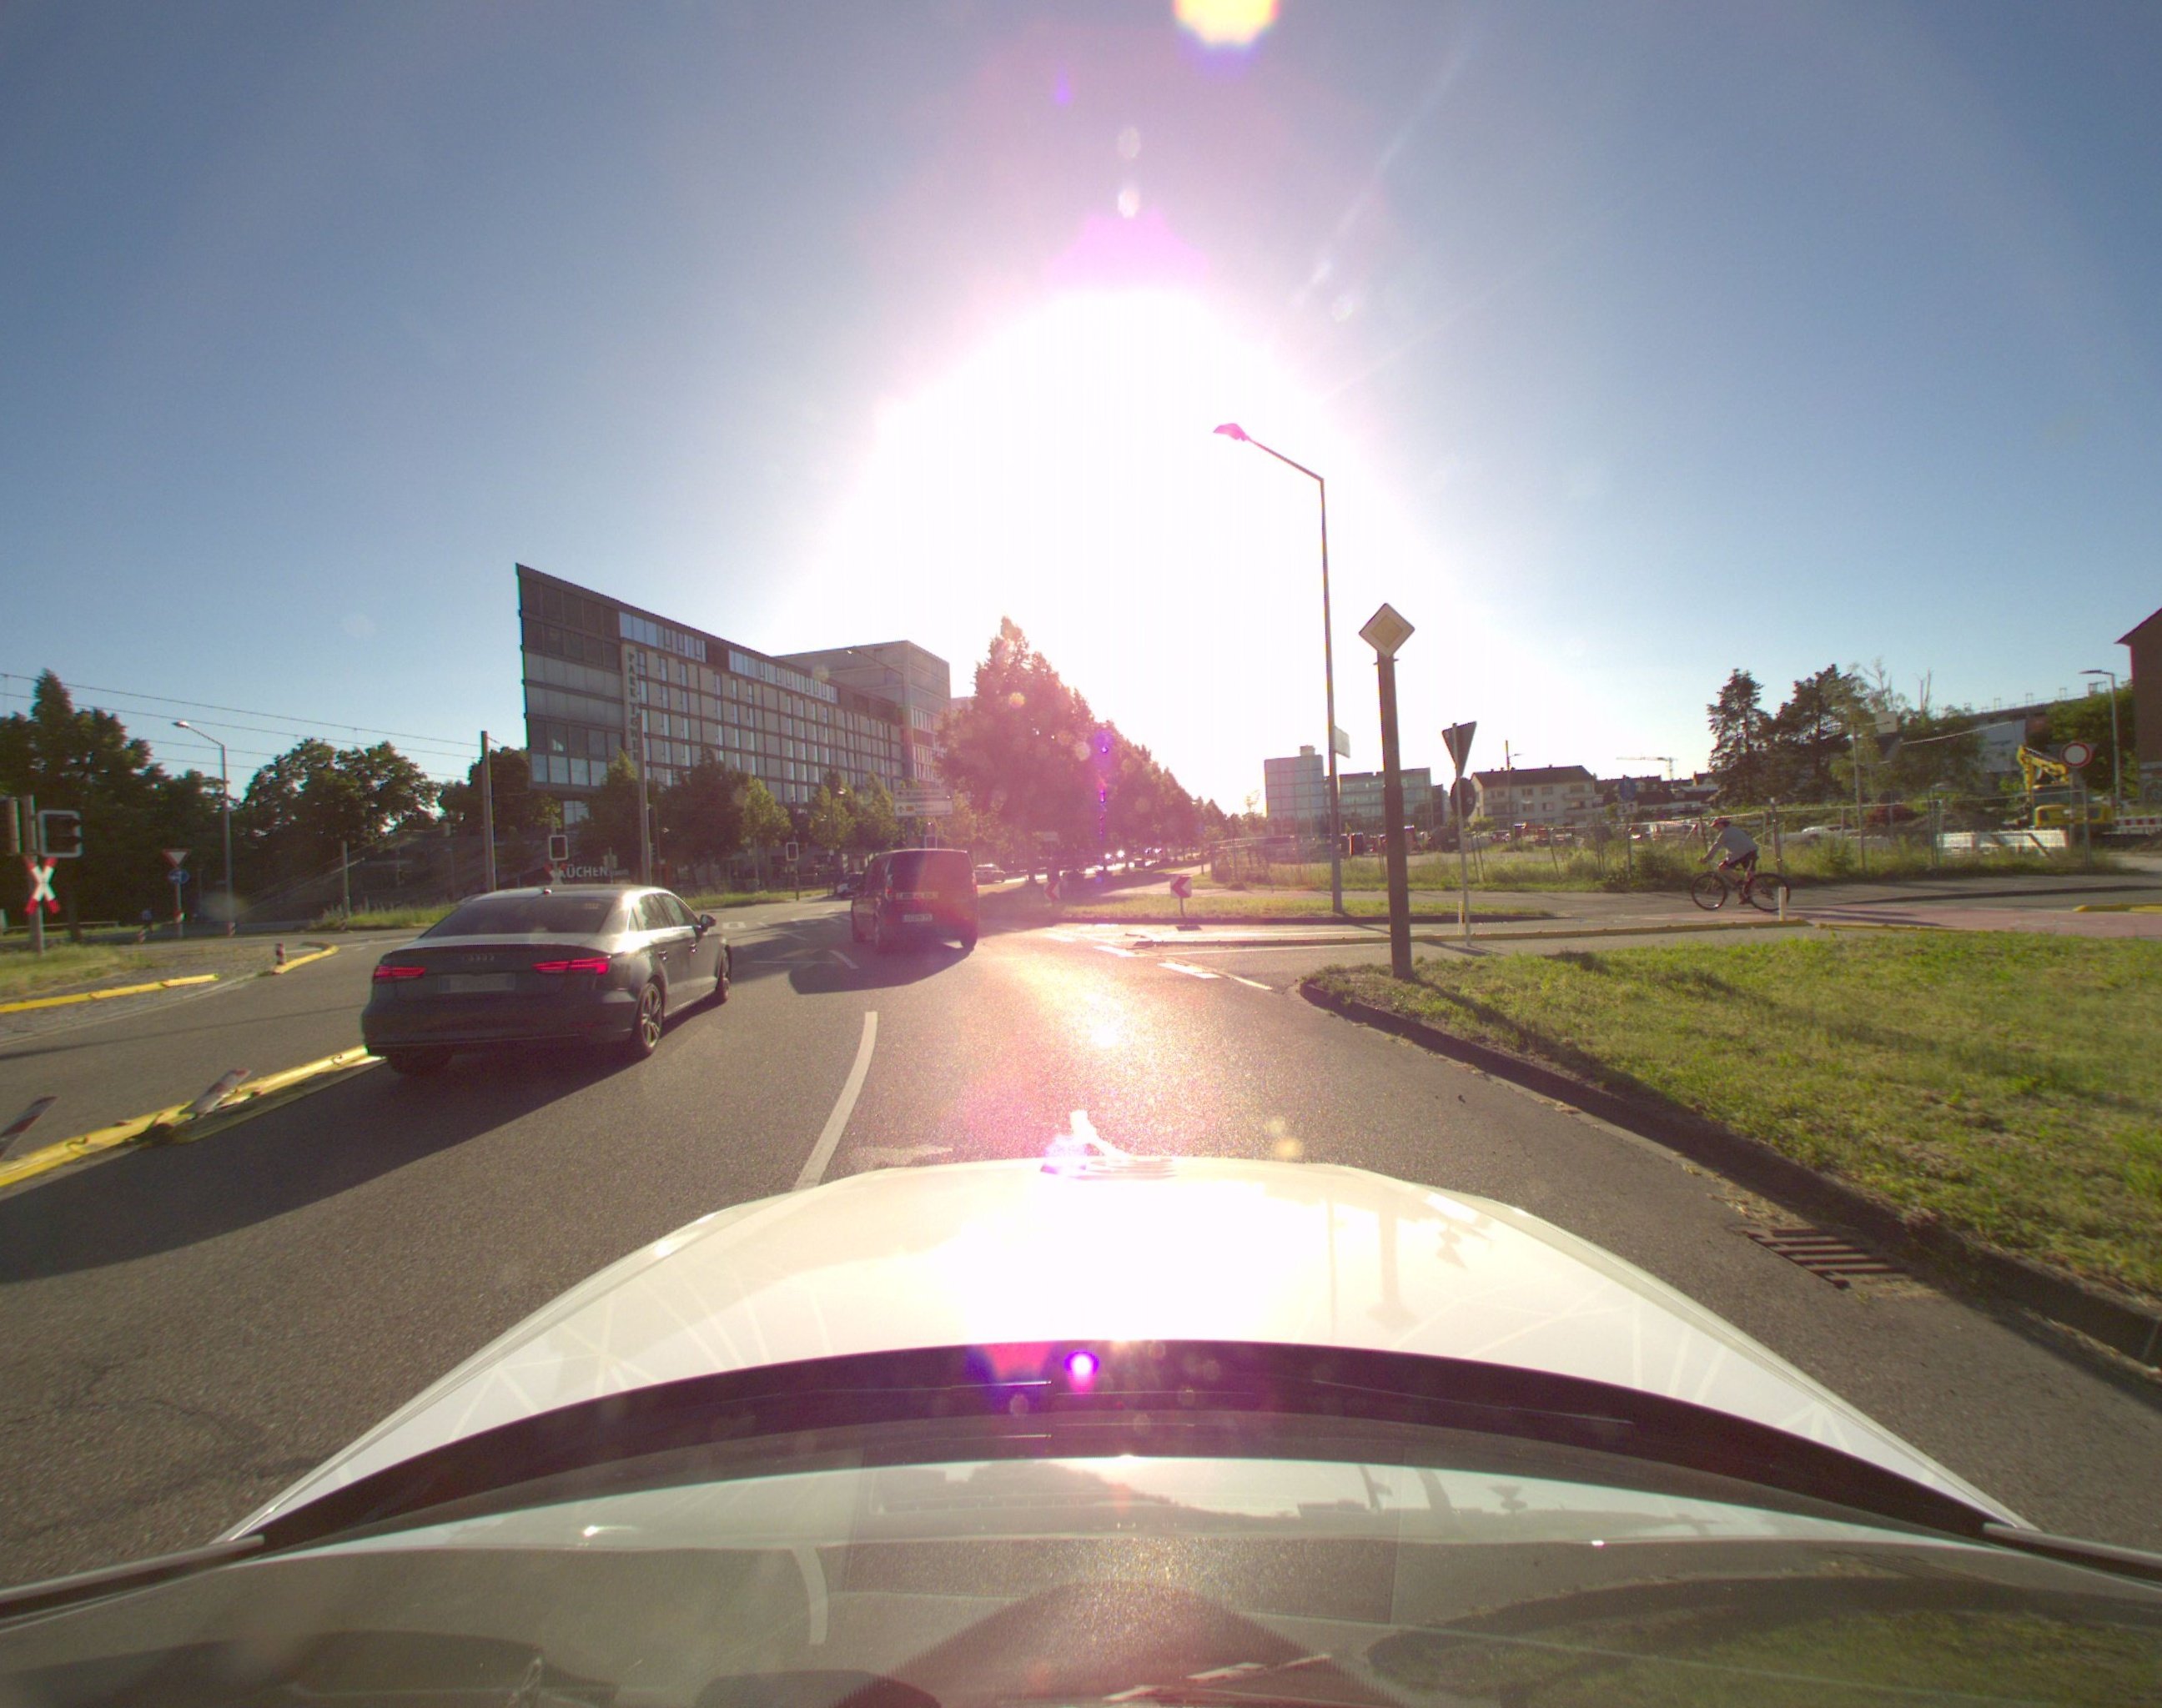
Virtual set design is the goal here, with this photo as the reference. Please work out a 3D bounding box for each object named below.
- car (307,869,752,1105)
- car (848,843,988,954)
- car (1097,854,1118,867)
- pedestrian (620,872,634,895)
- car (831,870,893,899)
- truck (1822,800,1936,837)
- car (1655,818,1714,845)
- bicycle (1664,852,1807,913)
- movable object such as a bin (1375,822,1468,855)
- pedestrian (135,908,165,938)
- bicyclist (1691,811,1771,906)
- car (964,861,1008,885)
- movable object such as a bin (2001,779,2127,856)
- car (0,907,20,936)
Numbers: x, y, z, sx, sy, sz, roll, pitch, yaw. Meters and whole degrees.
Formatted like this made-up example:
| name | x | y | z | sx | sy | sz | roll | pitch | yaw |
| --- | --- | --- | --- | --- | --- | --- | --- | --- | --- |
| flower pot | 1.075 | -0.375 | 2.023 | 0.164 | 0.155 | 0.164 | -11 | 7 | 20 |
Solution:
| name | x | y | z | sx | sy | sz | roll | pitch | yaw |
| --- | --- | --- | --- | --- | --- | --- | --- | --- | --- |
| car | -4.522 | 0.912 | 7.612 | 1.760 | 1.380 | 4.343 | -2 | 0 | -10 |
| car | -3.210 | 0.770 | 15.444 | 1.811 | 1.814 | 3.779 | -1 | -1 | -24 |
| car | 3.686 | 0.913 | 111.017 | 1.980 | 1.575 | 4.424 | -3 | 1 | 13 |
| pedestrian | -40.739 | 2.656 | 73.045 | 0.633 | 2.013 | 0.837 | -3 | 0 | 15 |
| car | -12.275 | 1.673 | 45.871 | 1.791 | 1.461 | 3.821 | -2 | 0 | 11 |
| truck | 47.756 | -2.091 | 48.968 | 2.147 | 2.013 | 6.465 | -1 | 1 | 17 |
| car | 48.337 | -1.802 | 65.346 | 1.981 | 2.013 | 4.512 | -1 | 1 | 10 |
| bicycle | 12.295 | 0.499 | 15.387 | 0.742 | 1.027 | 1.997 | -5 | 2 | -19 |
| movable object such as a bin | 32.393 | -1.475 | 77.785 | 7.846 | 2.782 | 2.956 | -3 | 1 | 16 |
| pedestrian | -54.263 | 4.033 | 47.470 | 0.876 | 1.629 | 0.764 | -3 | 0 | 16 |
| bicyclist | 12.251 | 0.081 | 15.368 | 0.742 | 1.680 | 0.848 | -5 | 2 | -19 |
| car | -7.462 | 1.465 | 64.393 | 1.979 | 1.575 | 4.425 | -3 | 1 | 14 |
| movable object such as a bin | 37.987 | -1.371 | 31.624 | 2.396 | 2.773 | 4.026 | 0 | 1 | 39 |
| car | -70.705 | 4.451 | 51.606 | 3.757 | 1.805 | 1.820 | -4 | 1 | -32 |
